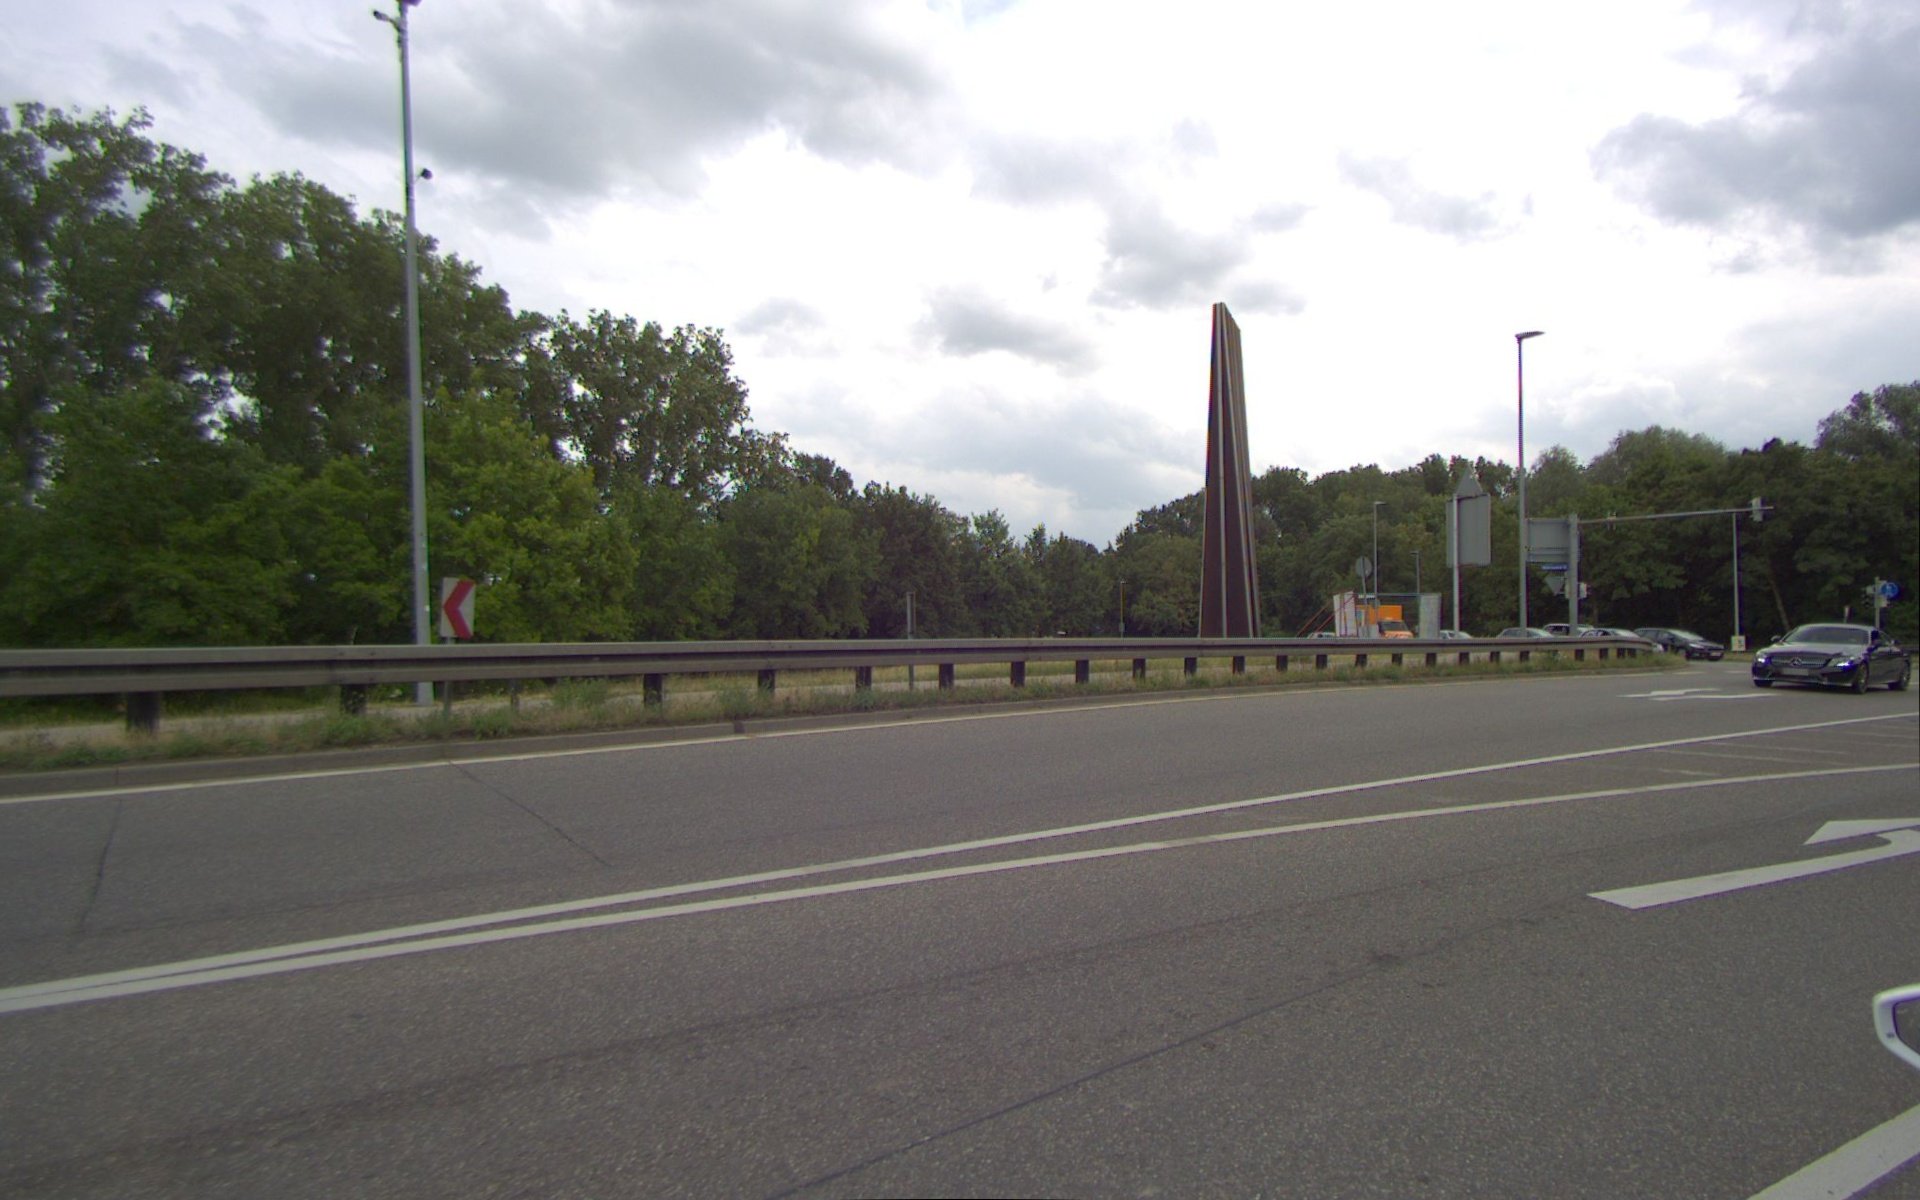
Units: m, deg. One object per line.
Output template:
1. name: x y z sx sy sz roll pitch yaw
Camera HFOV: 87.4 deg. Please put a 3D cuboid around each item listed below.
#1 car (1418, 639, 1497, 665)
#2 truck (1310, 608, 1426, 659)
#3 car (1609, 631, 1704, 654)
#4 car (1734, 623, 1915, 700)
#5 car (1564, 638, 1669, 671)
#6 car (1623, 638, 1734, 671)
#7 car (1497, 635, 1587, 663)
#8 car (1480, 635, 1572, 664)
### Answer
1. car: 29.001 3.023 58.704 1.964 1.327 4.331 2 -1 -9
2. truck: 27.693 2.208 68.779 2.918 3.177 9.260 2 -1 -10
3. car: 40.443 2.459 58.415 1.982 1.221 4.178 2 -1 -38
4. car: 18.923 1.294 21.927 4.609 1.474 1.980 2 -1 -36
5. car: 29.853 2.445 45.804 1.964 1.327 3.801 2 -1 -9
6. car: 33.595 2.517 47.133 1.964 1.327 4.066 2 -1 -9
7. car: 32.600 2.719 56.436 1.964 1.327 4.568 2 -1 -9
8. car: 29.842 2.596 53.133 1.964 1.327 4.331 2 -1 -9
